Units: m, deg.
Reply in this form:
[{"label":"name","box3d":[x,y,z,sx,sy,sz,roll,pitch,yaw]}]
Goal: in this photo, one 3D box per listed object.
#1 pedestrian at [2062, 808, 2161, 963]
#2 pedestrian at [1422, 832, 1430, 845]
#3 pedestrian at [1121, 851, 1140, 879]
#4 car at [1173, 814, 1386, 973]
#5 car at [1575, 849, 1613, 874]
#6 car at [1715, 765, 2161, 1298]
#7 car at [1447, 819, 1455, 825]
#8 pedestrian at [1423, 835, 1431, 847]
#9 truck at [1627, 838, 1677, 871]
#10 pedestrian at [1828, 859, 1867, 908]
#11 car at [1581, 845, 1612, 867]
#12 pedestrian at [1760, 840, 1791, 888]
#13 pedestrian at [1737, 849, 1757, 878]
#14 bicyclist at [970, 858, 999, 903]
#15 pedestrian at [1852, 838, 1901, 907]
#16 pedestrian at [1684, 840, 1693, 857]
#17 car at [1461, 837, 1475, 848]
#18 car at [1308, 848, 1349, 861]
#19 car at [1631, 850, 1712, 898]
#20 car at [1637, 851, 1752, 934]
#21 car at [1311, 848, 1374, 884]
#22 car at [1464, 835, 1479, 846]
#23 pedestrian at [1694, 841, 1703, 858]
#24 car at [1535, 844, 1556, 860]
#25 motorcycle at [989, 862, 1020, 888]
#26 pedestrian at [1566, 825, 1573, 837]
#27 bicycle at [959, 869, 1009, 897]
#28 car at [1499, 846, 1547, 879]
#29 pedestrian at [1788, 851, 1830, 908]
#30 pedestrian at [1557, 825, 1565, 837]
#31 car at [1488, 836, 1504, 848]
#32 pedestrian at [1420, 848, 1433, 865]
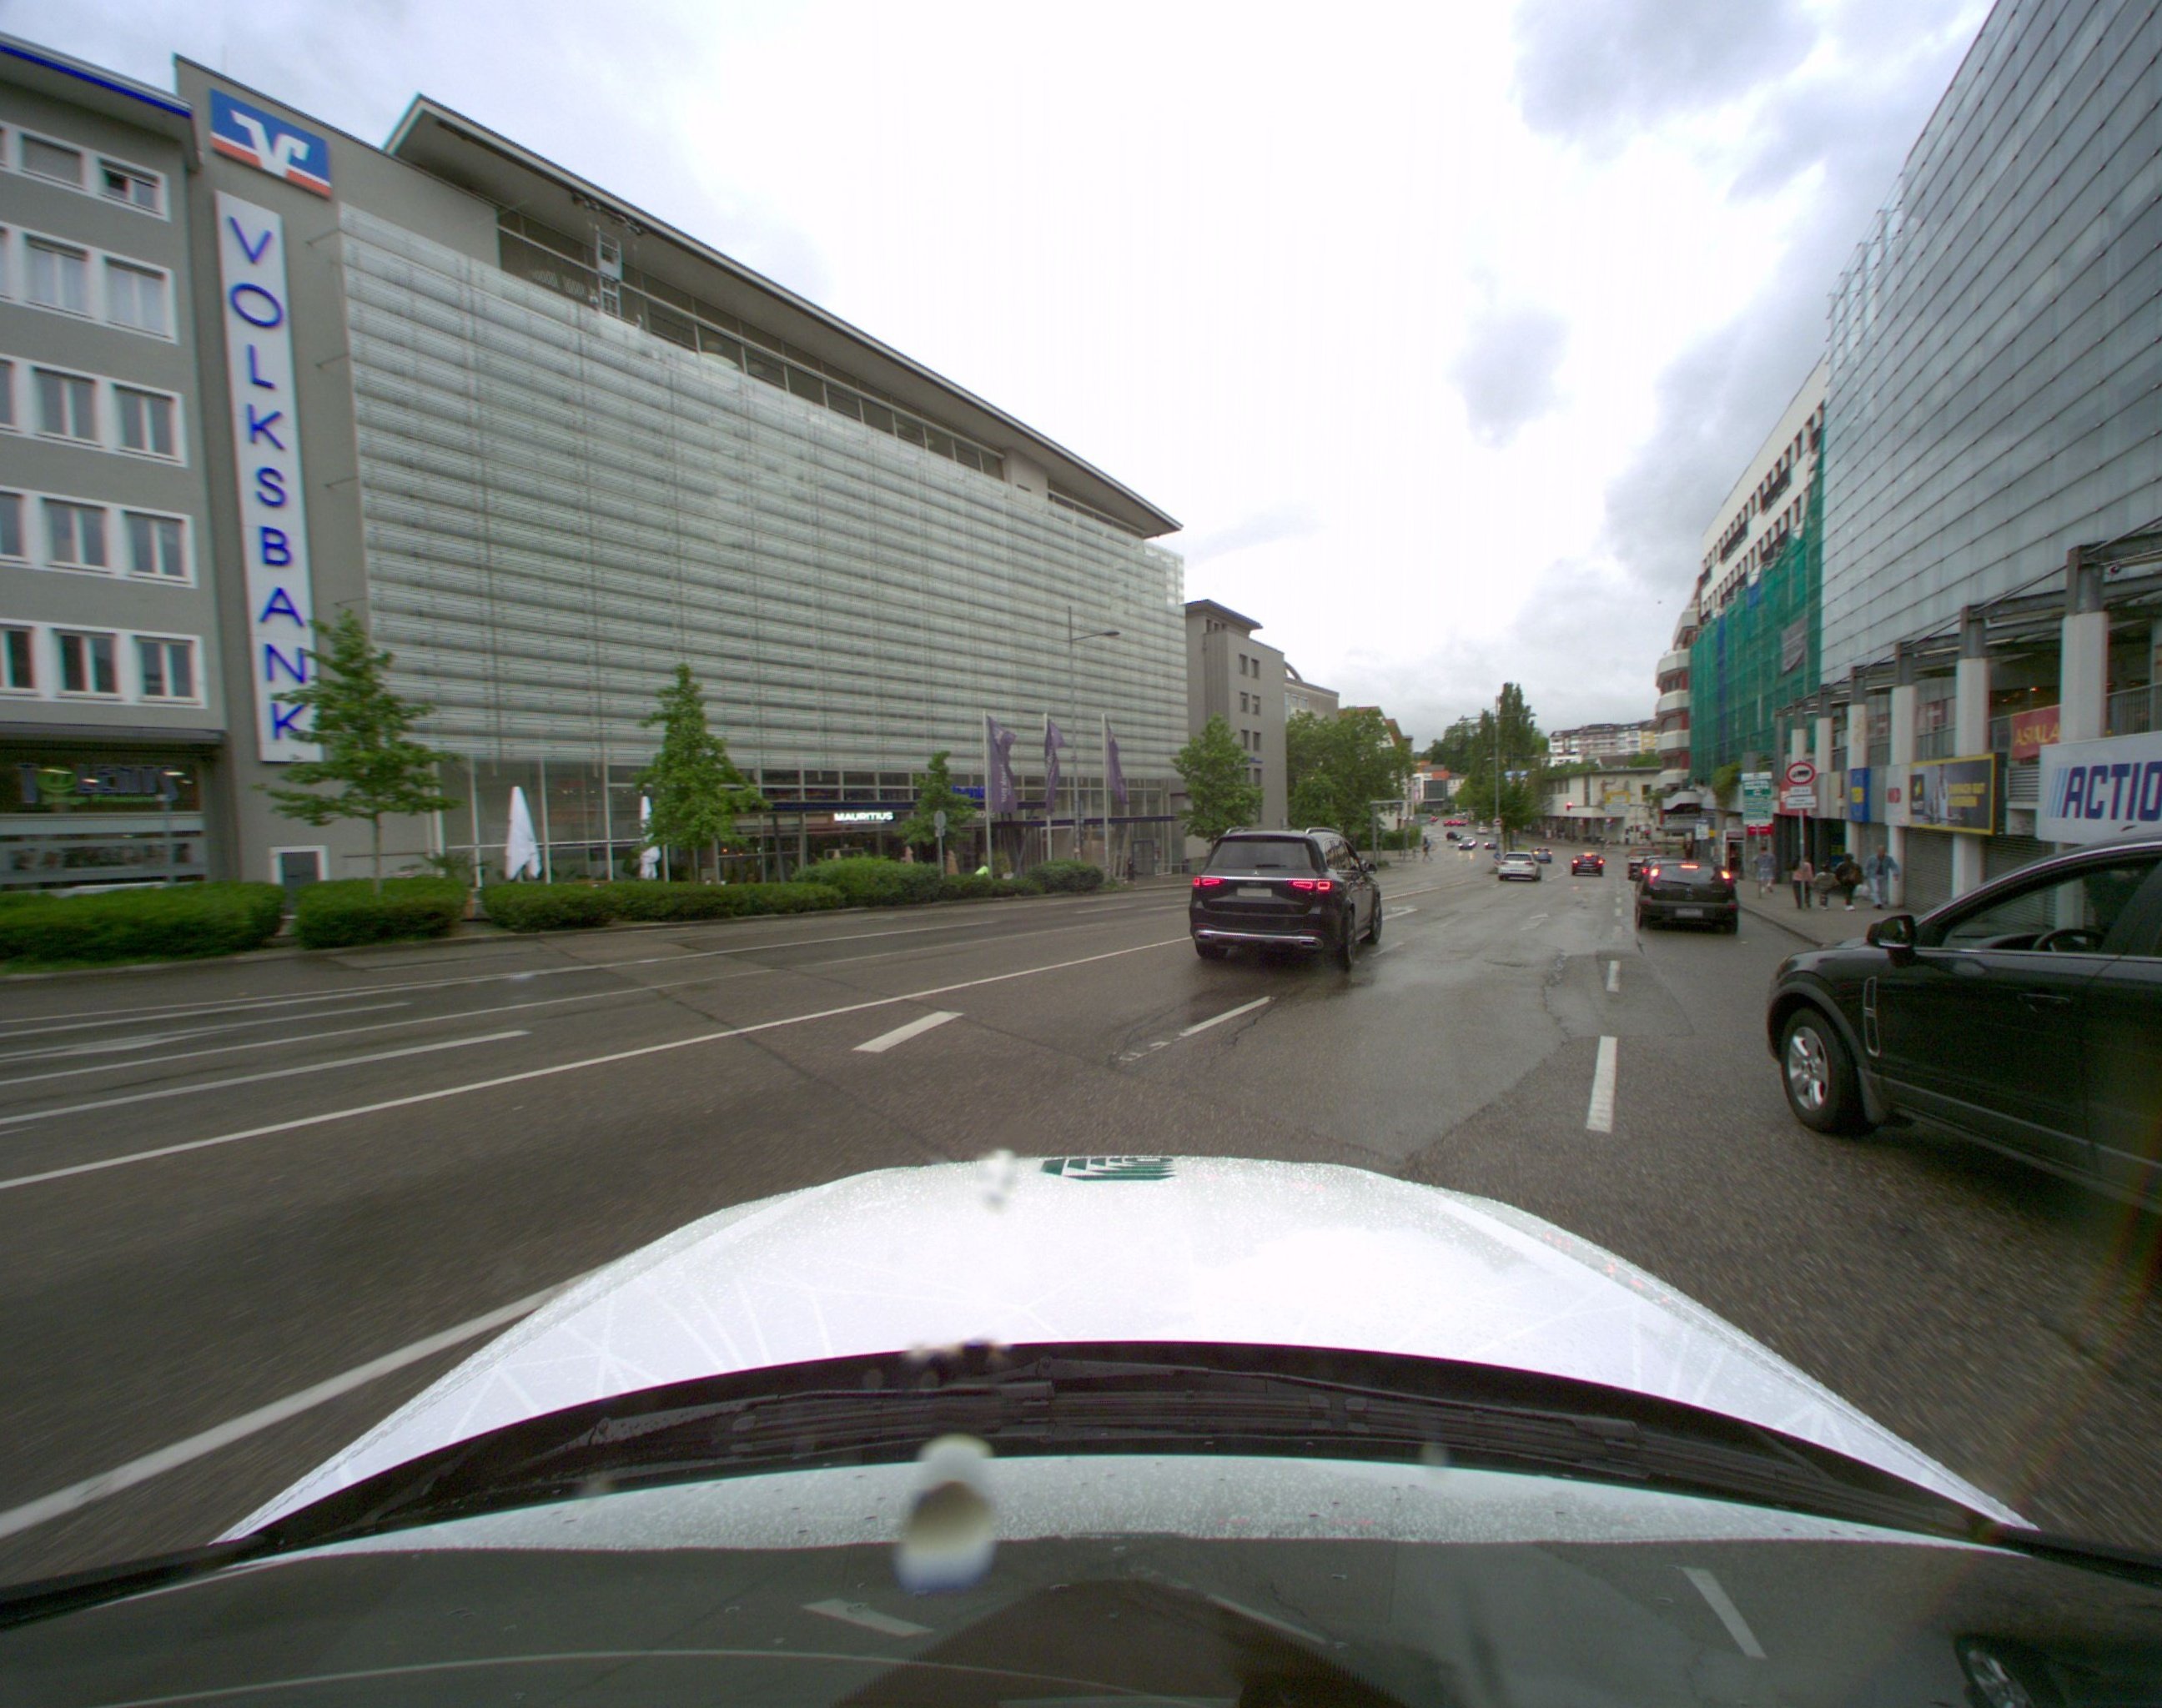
[{"label":"pedestrian","box3d":[12.951,0.360,10.152,0.593,1.840,1.018,-1,1,30]},{"label":"pedestrian","box3d":[49.980,-2.203,117.894,0.902,1.803,0.626,-1,0,-9]},{"label":"pedestrian","box3d":[2.670,0.590,44.159,0.645,1.456,0.850,-1,0,39]},{"label":"car","box3d":[3.144,0.419,11.973,2.068,1.817,4.820,1,1,25]},{"label":"car","box3d":[33.441,0.452,53.196,1.795,1.440,4.025,2,3,28]},{"label":"car","box3d":[4.661,0.575,3.079,1.894,1.785,4.316,-1,1,12]},{"label":"car","box3d":[90.996,-7.899,200.308,1.733,1.554,3.588,0,1,22]},{"label":"pedestrian","box3d":[49.452,-1.870,116.316,0.923,1.608,0.562,-1,0,-9]},{"label":"truck","box3d":[38.706,-0.008,55.335,2.163,2.082,5.638,0,1,29]},{"label":"pedestrian","box3d":[19.416,0.748,20.644,0.684,1.207,0.557,-1,0,41]},{"label":"car","box3d":[39.620,0.088,62.636,1.744,1.542,4.025,1,2,29]},{"label":"pedestrian","box3d":[25.268,0.351,29.648,0.827,1.722,0.834,-1,0,41]},{"label":"pedestrian","box3d":[37.560,0.548,45.912,0.561,1.650,0.640,-1,-1,-16]},{"label":"bicyclist","box3d":[-4.027,1.091,33.931,0.662,1.830,0.996,-2,-1,44]},{"label":"pedestrian","box3d":[20.366,0.466,20.860,0.827,1.722,0.621,-1,0,41]},{"label":"pedestrian","box3d":[60.821,-0.524,81.488,0.570,1.699,0.654,-1,0,22]},{"label":"car","box3d":[52.572,-1.624,110.701,1.691,1.451,3.884,0,1,25]},{"label":"car","box3d":[29.928,0.049,98.415,4.553,1.482,1.952,2,1,20]},{"label":"car","box3d":[21.393,0.666,29.668,1.931,1.574,4.025,1,1,29]},{"label":"car","box3d":[12.847,0.707,17.232,1.700,1.419,3.794,3,3,35]},{"label":"car","box3d":[12.355,0.544,38.327,1.823,1.552,4.120,-3,-1,31]},{"label":"car","box3d":[56.327,-1.969,117.429,1.762,1.549,4.022,0,1,23]},{"label":"pedestrian","box3d":[61.464,-0.441,81.069,0.571,1.699,0.654,-1,0,18]},{"label":"car","box3d":[45.740,-0.254,80.279,1.777,1.468,4.025,1,1,29]},{"label":"motorcycle","box3d":[-4.038,1.100,43.121,1.532,1.295,0.774,0,0,39]},{"label":"pedestrian","box3d":[79.307,-3.734,132.273,0.697,1.803,0.943,-1,0,18]},{"label":"bicycle","box3d":[-4.019,1.202,33.943,2.083,1.099,0.672,0,-1,-45]},{"label":"car","box3d":[22.706,0.397,41.790,1.931,1.574,4.025,1,1,32]},{"label":"pedestrian","box3d":[18.866,0.648,21.108,0.739,1.438,0.601,-3,-1,41]},{"label":"pedestrian","box3d":[78.066,-3.753,132.356,0.839,1.803,1.061,-1,0,18]},{"label":"car","box3d":[55.929,-1.654,109.758,1.803,1.549,4.024,0,1,27]},{"label":"pedestrian","box3d":[37.747,0.293,89.029,1.053,1.882,0.844,-1,0,38]}]
